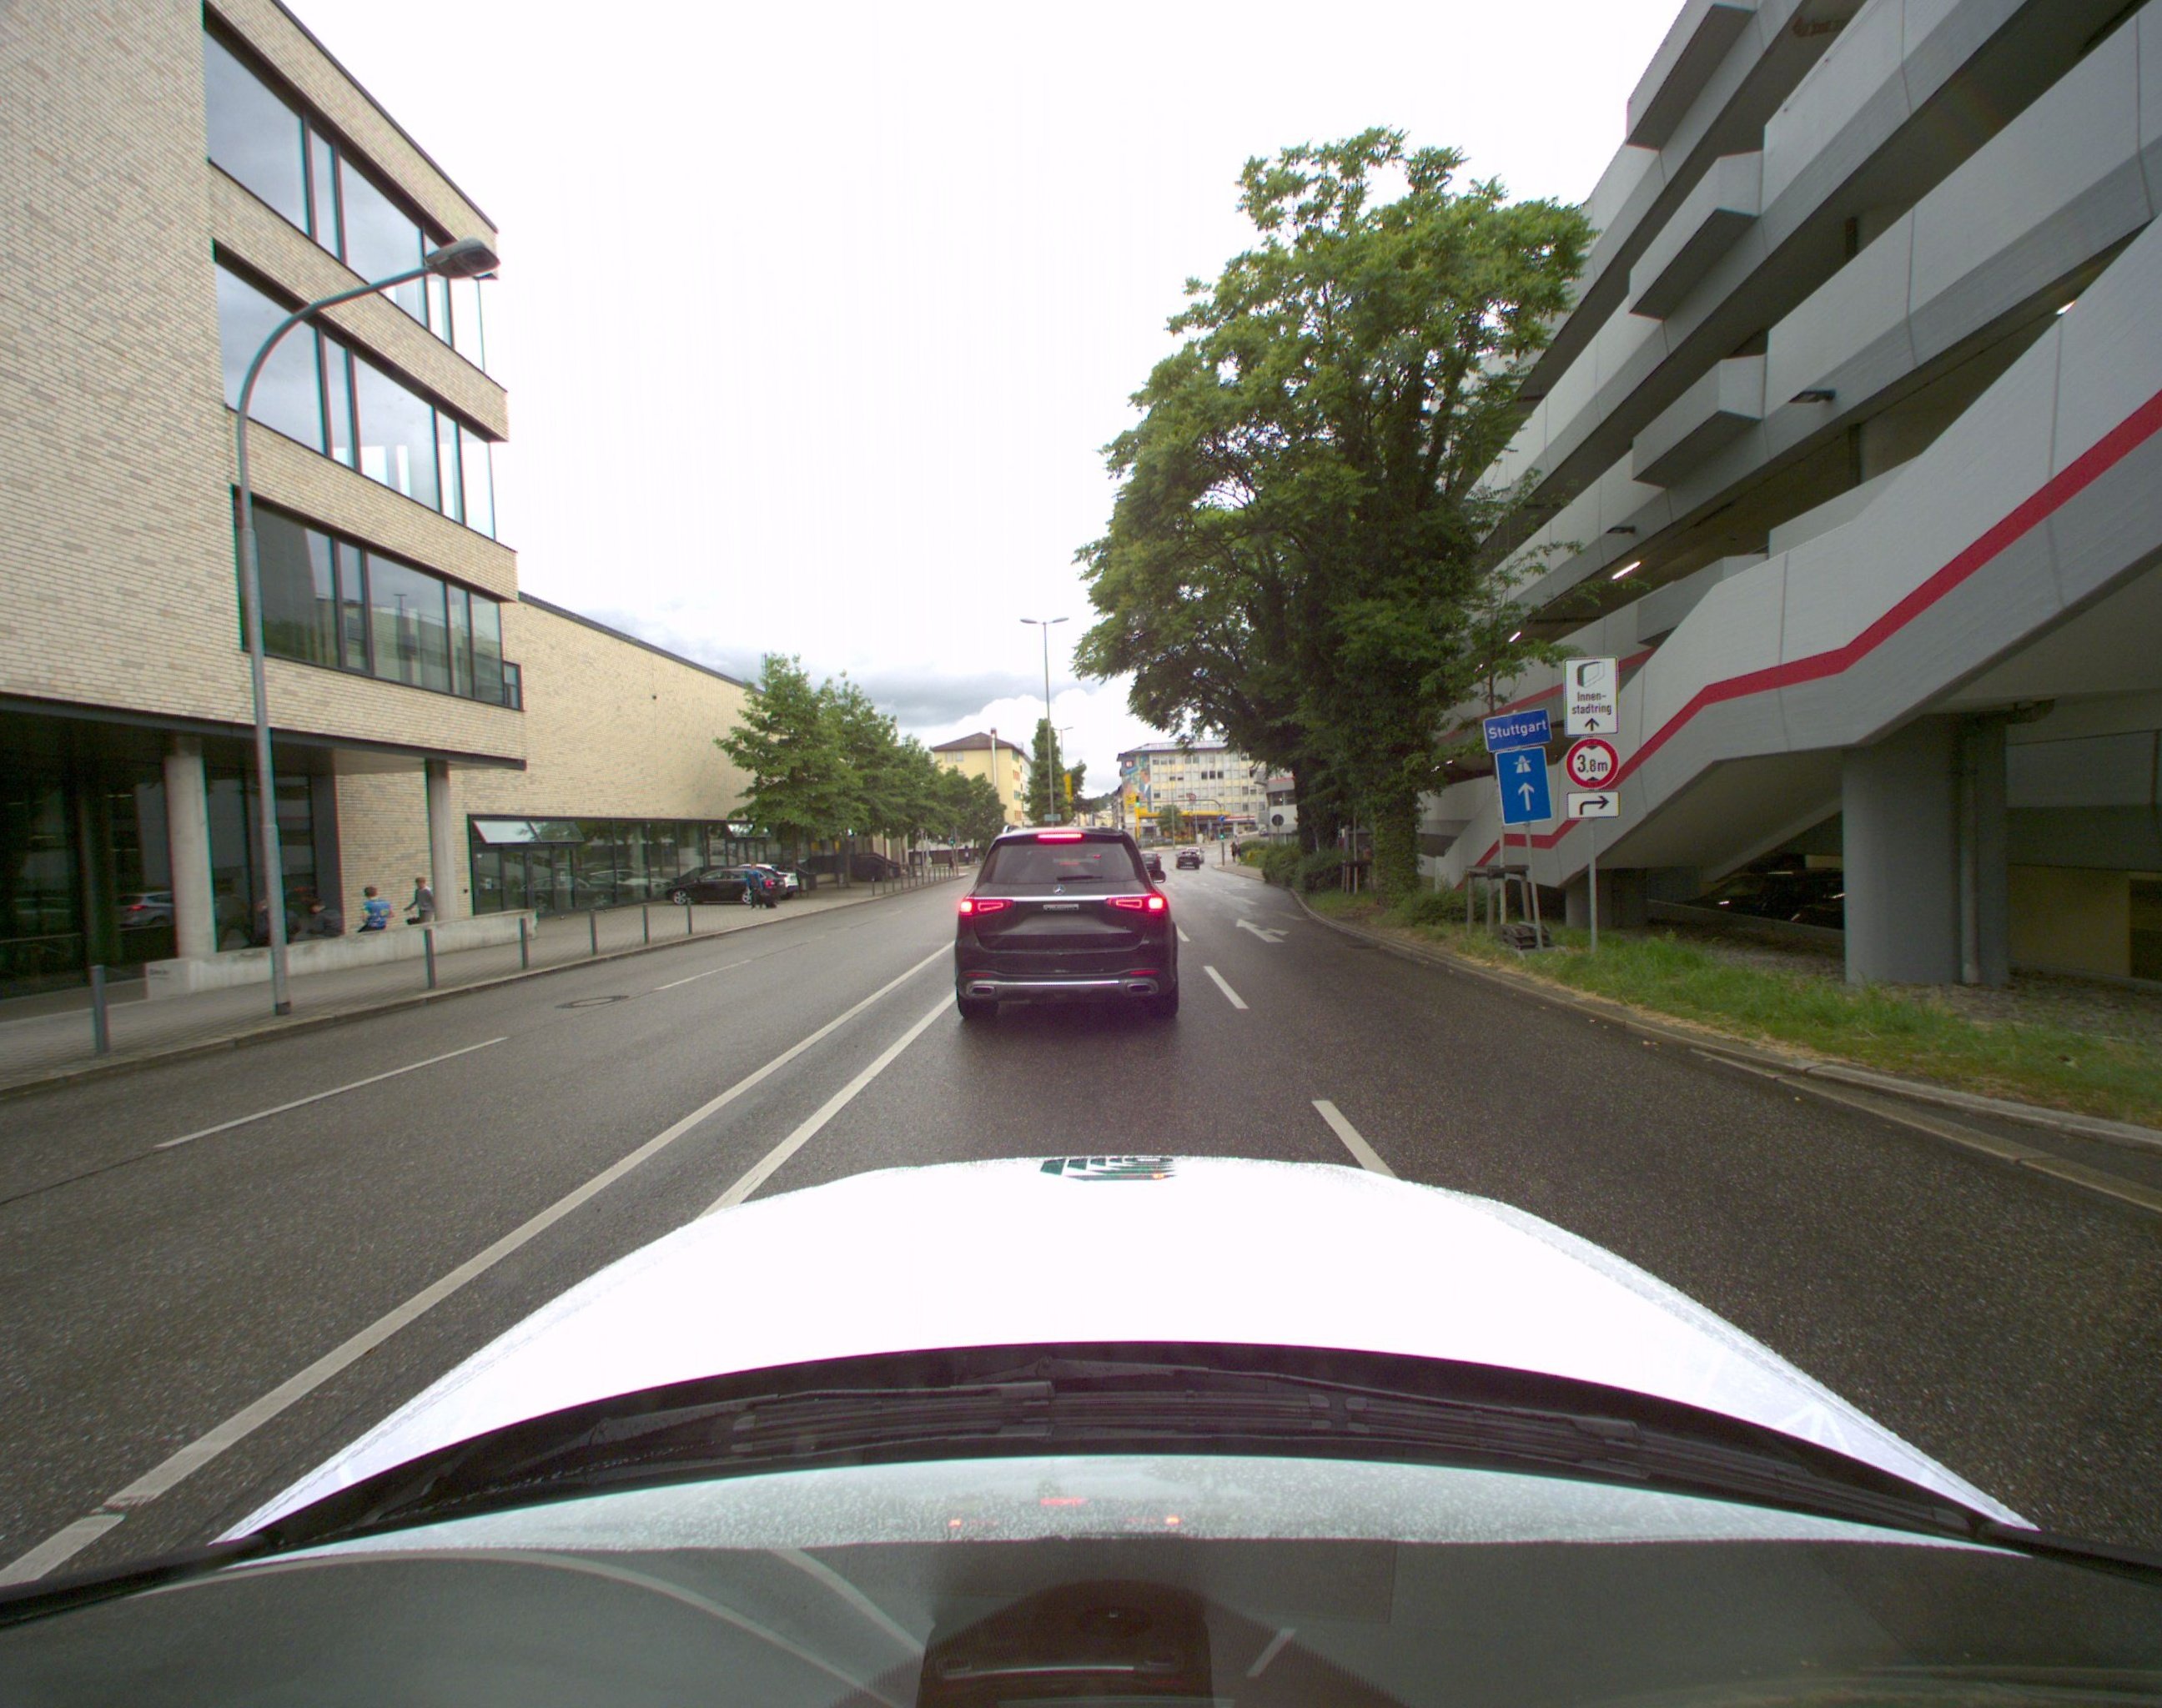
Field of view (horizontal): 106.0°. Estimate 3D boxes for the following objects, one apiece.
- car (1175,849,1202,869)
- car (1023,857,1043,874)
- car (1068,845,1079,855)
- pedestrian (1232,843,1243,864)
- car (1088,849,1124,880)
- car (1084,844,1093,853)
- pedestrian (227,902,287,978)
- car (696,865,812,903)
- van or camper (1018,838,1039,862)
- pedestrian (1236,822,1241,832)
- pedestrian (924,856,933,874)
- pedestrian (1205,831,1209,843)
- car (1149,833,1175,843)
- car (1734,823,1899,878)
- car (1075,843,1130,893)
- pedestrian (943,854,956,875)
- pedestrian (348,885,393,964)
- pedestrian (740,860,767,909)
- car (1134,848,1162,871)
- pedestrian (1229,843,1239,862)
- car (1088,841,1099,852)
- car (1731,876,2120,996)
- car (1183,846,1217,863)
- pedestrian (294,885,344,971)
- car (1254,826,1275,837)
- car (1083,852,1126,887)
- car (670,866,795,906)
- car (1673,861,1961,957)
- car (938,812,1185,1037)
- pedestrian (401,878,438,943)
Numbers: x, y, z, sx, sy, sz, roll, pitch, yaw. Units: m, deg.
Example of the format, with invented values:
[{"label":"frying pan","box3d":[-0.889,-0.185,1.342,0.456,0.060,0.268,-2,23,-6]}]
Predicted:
[{"label":"car","box3d":[8.361,0.419,63.830,1.936,1.486,4.006,0,-1,5]},{"label":"car","box3d":[-4.747,1.117,80.811,1.735,1.470,3.882,-4,0,0]},{"label":"car","box3d":[-1.318,-0.661,139.234,1.900,1.703,3.998,0,-1,-1]},{"label":"pedestrian","box3d":[12.534,-0.031,65.252,0.639,1.710,0.474,-2,-1,38]},{"label":"car","box3d":[1.369,0.546,44.402,1.900,1.586,4.001,0,-1,2]},{"label":"car","box3d":[1.789,-1.240,189.533,1.985,2.014,4.003,0,-1,3]},{"label":"pedestrian","box3d":[-13.574,1.405,13.420,0.546,1.215,0.422,0,-1,4]},{"label":"car","box3d":[-14.050,1.272,35.119,4.158,1.547,2.002,0,-1,3]},{"label":"van or camper","box3d":[-6.281,-0.477,97.681,2.096,2.582,5.904,-4,0,-2]},{"label":"pedestrian","box3d":[26.415,-4.516,136.335,0.521,1.727,0.693,-2,1,28]},{"label":"pedestrian","box3d":[-13.810,0.984,73.844,0.641,1.665,1.017,0,-1,-4]},{"label":"pedestrian","box3d":[18.585,-2.471,120.131,0.570,1.697,0.631,0,-1,3]},{"label":"car","box3d":[12.769,-2.513,128.503,1.747,1.376,3.952,-4,1,-42]},{"label":"car","box3d":[26.185,-0.118,29.151,3.958,1.783,1.823,-2,0,14]},{"label":"car","box3d":[0.860,0.531,31.630,1.986,1.800,4.001,0,-1,2]},{"label":"pedestrian","box3d":[-10.797,0.874,66.847,0.948,1.704,0.709,0,-1,-16]},{"label":"pedestrian","box3d":[-13.628,1.333,15.621,0.448,1.475,0.463,0,-1,-4]},{"label":"pedestrian","box3d":[-11.704,1.072,29.112,0.632,1.714,0.705,0,-1,4]},{"label":"car","box3d":[4.776,0.356,58.125,1.789,1.525,4.058,0,1,2]},{"label":"pedestrian","box3d":[13.623,-0.119,72.514,0.716,1.690,0.455,0,-1,-5]},{"label":"car","box3d":[2.557,-1.465,162.209,1.985,2.014,4.003,0,-1,3]},{"label":"car","box3d":[12.939,1.236,12.734,3.966,1.624,1.842,-1,0,6]},{"label":"car","box3d":[11.002,0.031,75.215,1.737,1.549,4.025,-1,-1,30]},{"label":"pedestrian","box3d":[-13.530,1.304,14.472,0.448,1.475,0.463,0,-1,-4]},{"label":"car","box3d":[31.089,-3.804,137.845,1.974,1.705,4.026,-2,1,35]},{"label":"car","box3d":[1.098,0.706,37.848,1.900,1.501,4.001,0,-1,2]},{"label":"car","box3d":[-13.953,1.253,32.813,4.169,1.495,1.997,0,-1,-5]},{"label":"car","box3d":[13.789,1.005,15.484,3.713,1.540,1.815,-1,3,7]},{"label":"car","box3d":[-0.097,0.583,8.570,1.986,1.800,4.001,0,-1,2]},{"label":"pedestrian","box3d":[-15.503,1.309,19.106,0.440,1.475,0.528,0,-1,-3]}]
